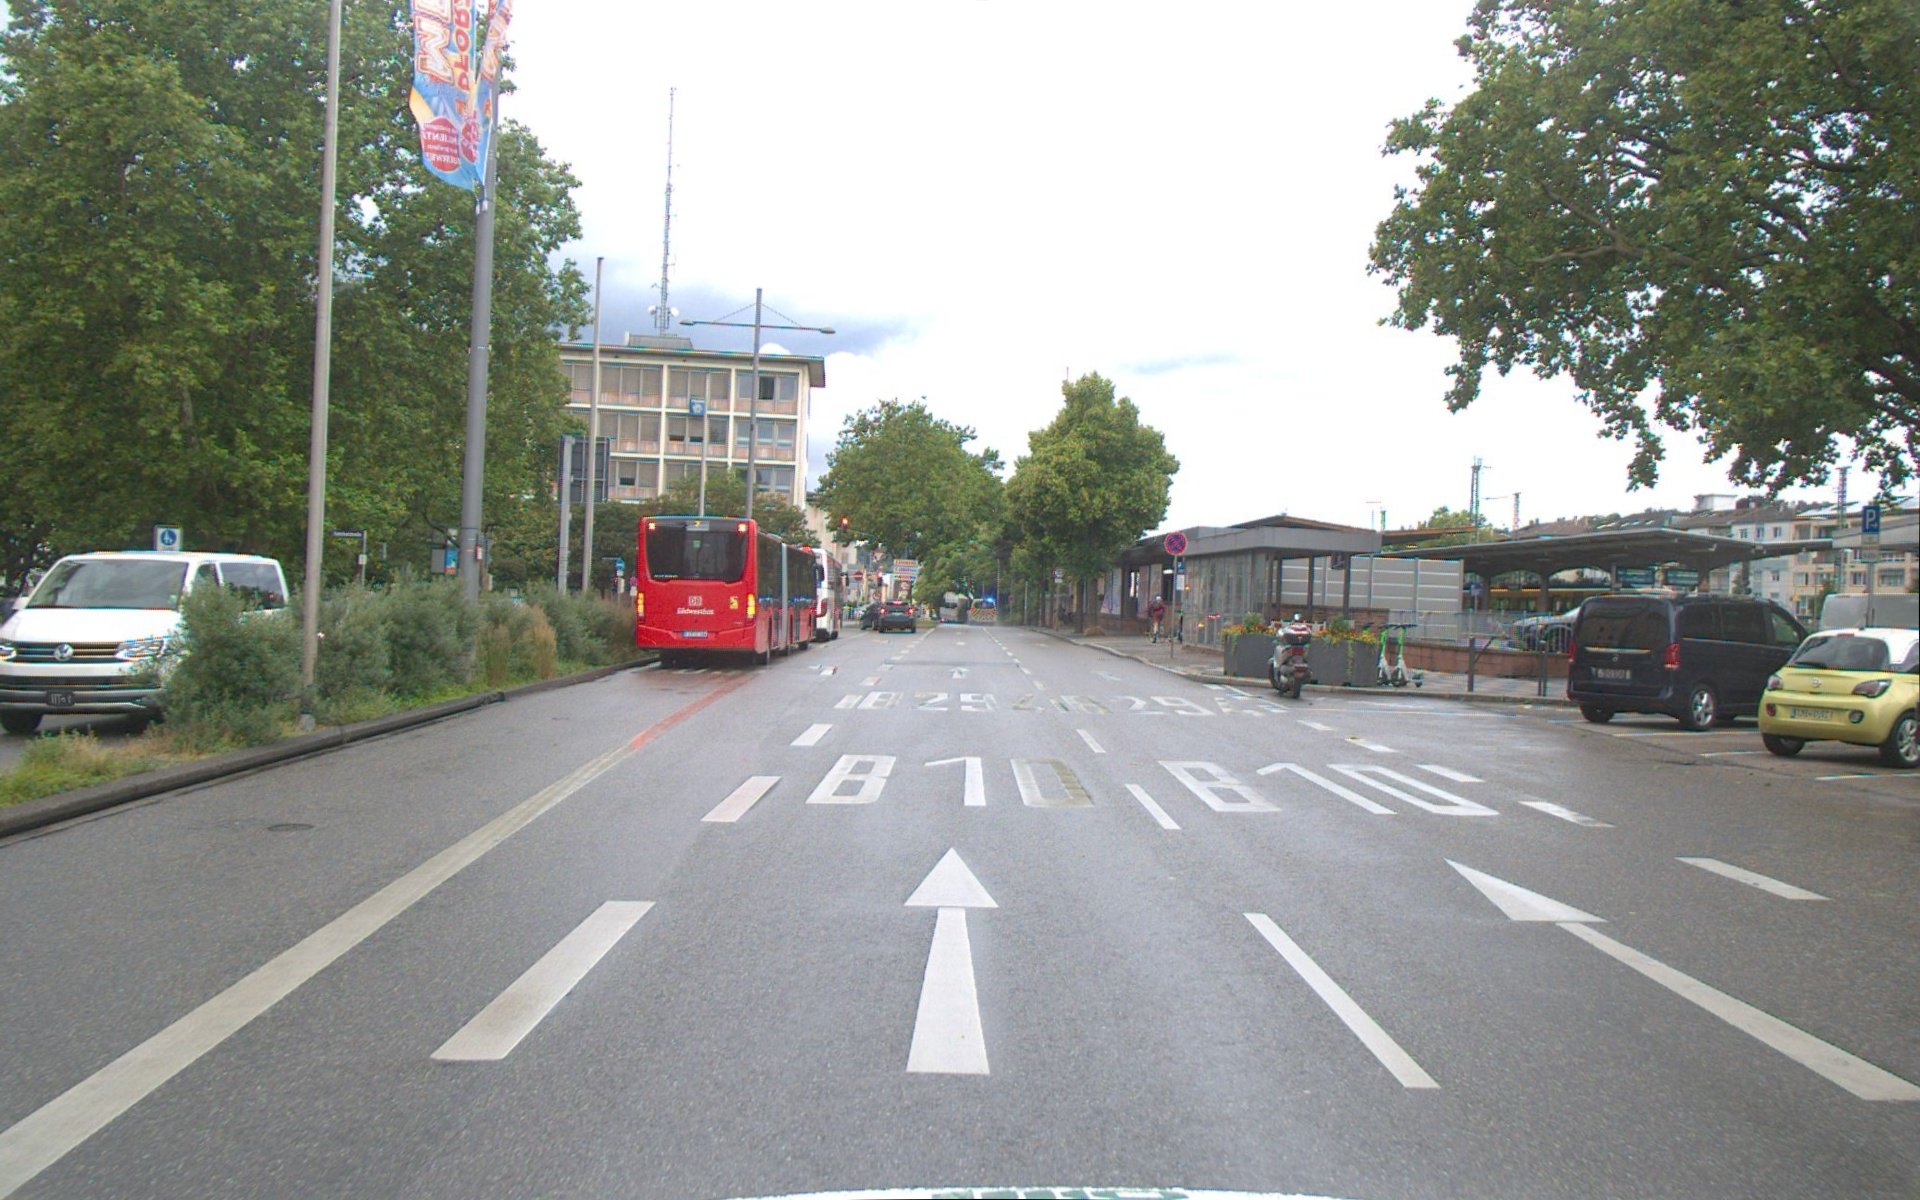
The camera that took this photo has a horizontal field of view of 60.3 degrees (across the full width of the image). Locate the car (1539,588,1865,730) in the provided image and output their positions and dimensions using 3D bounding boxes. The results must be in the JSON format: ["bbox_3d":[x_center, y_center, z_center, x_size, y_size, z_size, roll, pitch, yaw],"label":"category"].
[{"bbox_3d":[10.944,0.816,24.342,4.635,1.907,2.088,1,0,-30],"label":"car"}]

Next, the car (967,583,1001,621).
[{"bbox_3d":[1.755,0.140,121.738,2.218,2.703,3.998,1,0,-2],"label":"car"}]

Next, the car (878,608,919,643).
[{"bbox_3d":[-3.027,1.247,81.515,1.925,1.668,4.357,1,0,-2],"label":"car"}]

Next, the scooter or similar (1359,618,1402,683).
[{"bbox_3d":[7.926,0.957,31.148,0.405,1.175,1.260,3,0,30],"label":"scooter or similar"}]

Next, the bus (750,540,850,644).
[{"bbox_3d":[-5.893,-0.269,62.872,2.896,3.499,12.554,1,0,-2],"label":"bus"}]

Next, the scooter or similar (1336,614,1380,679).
[{"bbox_3d":[7.555,0.886,31.373,0.405,1.175,1.260,3,0,30],"label":"scooter or similar"}]

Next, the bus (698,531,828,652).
[{"bbox_3d":[-5.568,-0.230,48.228,2.696,3.187,8.842,1,0,0],"label":"bus"}]

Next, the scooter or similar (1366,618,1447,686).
[{"bbox_3d":[8.507,0.979,31.581,1.043,1.175,1.667,3,0,0],"label":"scooter or similar"}]

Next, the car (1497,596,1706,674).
[{"bbox_3d":[16.531,0.883,42.763,4.592,1.907,2.107,1,0,-5],"label":"car"}]

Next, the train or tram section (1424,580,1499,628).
[{"bbox_3d":[36.445,0.313,120.623,2.600,3.340,8.760,0,0,-2],"label":"train or tram section"}]

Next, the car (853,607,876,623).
[{"bbox_3d":[-8.737,1.381,151.615,1.656,1.320,4.093,2,-1,2],"label":"car"}]

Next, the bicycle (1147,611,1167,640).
[{"bbox_3d":[7.155,0.917,60.127,0.437,1.034,1.676,-1,0,-3],"label":"bicycle"}]

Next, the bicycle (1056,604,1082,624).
[{"bbox_3d":[7.111,0.920,107.949,1.688,1.271,0.485,0,-1,31],"label":"bicycle"}]

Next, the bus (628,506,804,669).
[{"bbox_3d":[-5.466,-0.254,38.856,2.752,3.302,9.911,1,0,-1],"label":"bus"}]

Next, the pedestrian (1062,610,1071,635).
[{"bbox_3d":[6.907,1.479,107.547,0.448,1.596,0.392,0,-1,31],"label":"pedestrian"}]

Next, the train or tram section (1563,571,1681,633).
[{"bbox_3d":[37.221,0.148,93.395,2.600,3.340,9.517,0,0,-2],"label":"train or tram section"}]

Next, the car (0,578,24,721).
[{"bbox_3d":[-12.277,0.582,18.128,1.955,1.710,4.097,1,0,-5],"label":"car"}]

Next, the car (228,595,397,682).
[{"bbox_3d":[-12.851,0.720,33.142,1.755,1.606,4.736,0,0,-3],"label":"car"}]

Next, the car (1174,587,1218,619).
[{"bbox_3d":[14.592,0.183,102.395,1.953,1.904,4.596,1,0,-2],"label":"car"}]

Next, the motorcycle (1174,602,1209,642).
[{"bbox_3d":[8.302,0.779,59.434,0.776,1.371,2.456,1,0,-3],"label":"motorcycle"}]

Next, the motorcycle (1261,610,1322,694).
[{"bbox_3d":[5.697,0.867,28.510,0.630,1.376,2.109,1,0,0],"label":"motorcycle"}]

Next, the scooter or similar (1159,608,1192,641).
[{"bbox_3d":[8.023,0.908,61.617,0.485,1.173,1.705,1,-1,-20],"label":"scooter or similar"}]

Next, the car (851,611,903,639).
[{"bbox_3d":[-4.476,1.337,88.616,1.786,1.434,4.394,1,0,-16],"label":"car"}]

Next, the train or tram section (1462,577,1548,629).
[{"bbox_3d":[36.663,0.230,111.670,2.600,3.340,9.131,0,0,-2],"label":"train or tram section"}]

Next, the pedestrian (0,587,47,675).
[{"bbox_3d":[-16.926,0.554,29.764,0.677,1.556,0.725,0,0,-13],"label":"pedestrian"}]

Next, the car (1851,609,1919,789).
[{"bbox_3d":[10.834,0.946,16.162,4.178,1.663,1.865,1,0,-30],"label":"car"}]

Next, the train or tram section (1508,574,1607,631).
[{"bbox_3d":[36.937,0.188,102.627,2.600,3.340,9.131,0,0,-2],"label":"train or tram section"}]

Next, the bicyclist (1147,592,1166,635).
[{"bbox_3d":[7.138,0.497,60.088,0.523,1.565,0.694,-1,-1,-3],"label":"bicyclist"}]

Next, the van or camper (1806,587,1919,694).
[{"bbox_3d":[19.237,0.789,32.502,4.192,2.025,2.020,1,0,-2],"label":"van or camper"}]

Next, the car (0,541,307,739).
[{"bbox_3d":[-9.362,0.403,19.299,1.883,2.008,4.851,1,0,-5],"label":"car"}]

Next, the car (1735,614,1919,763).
[{"bbox_3d":[10.882,0.964,19.185,3.541,1.551,1.745,1,0,-30],"label":"car"}]
